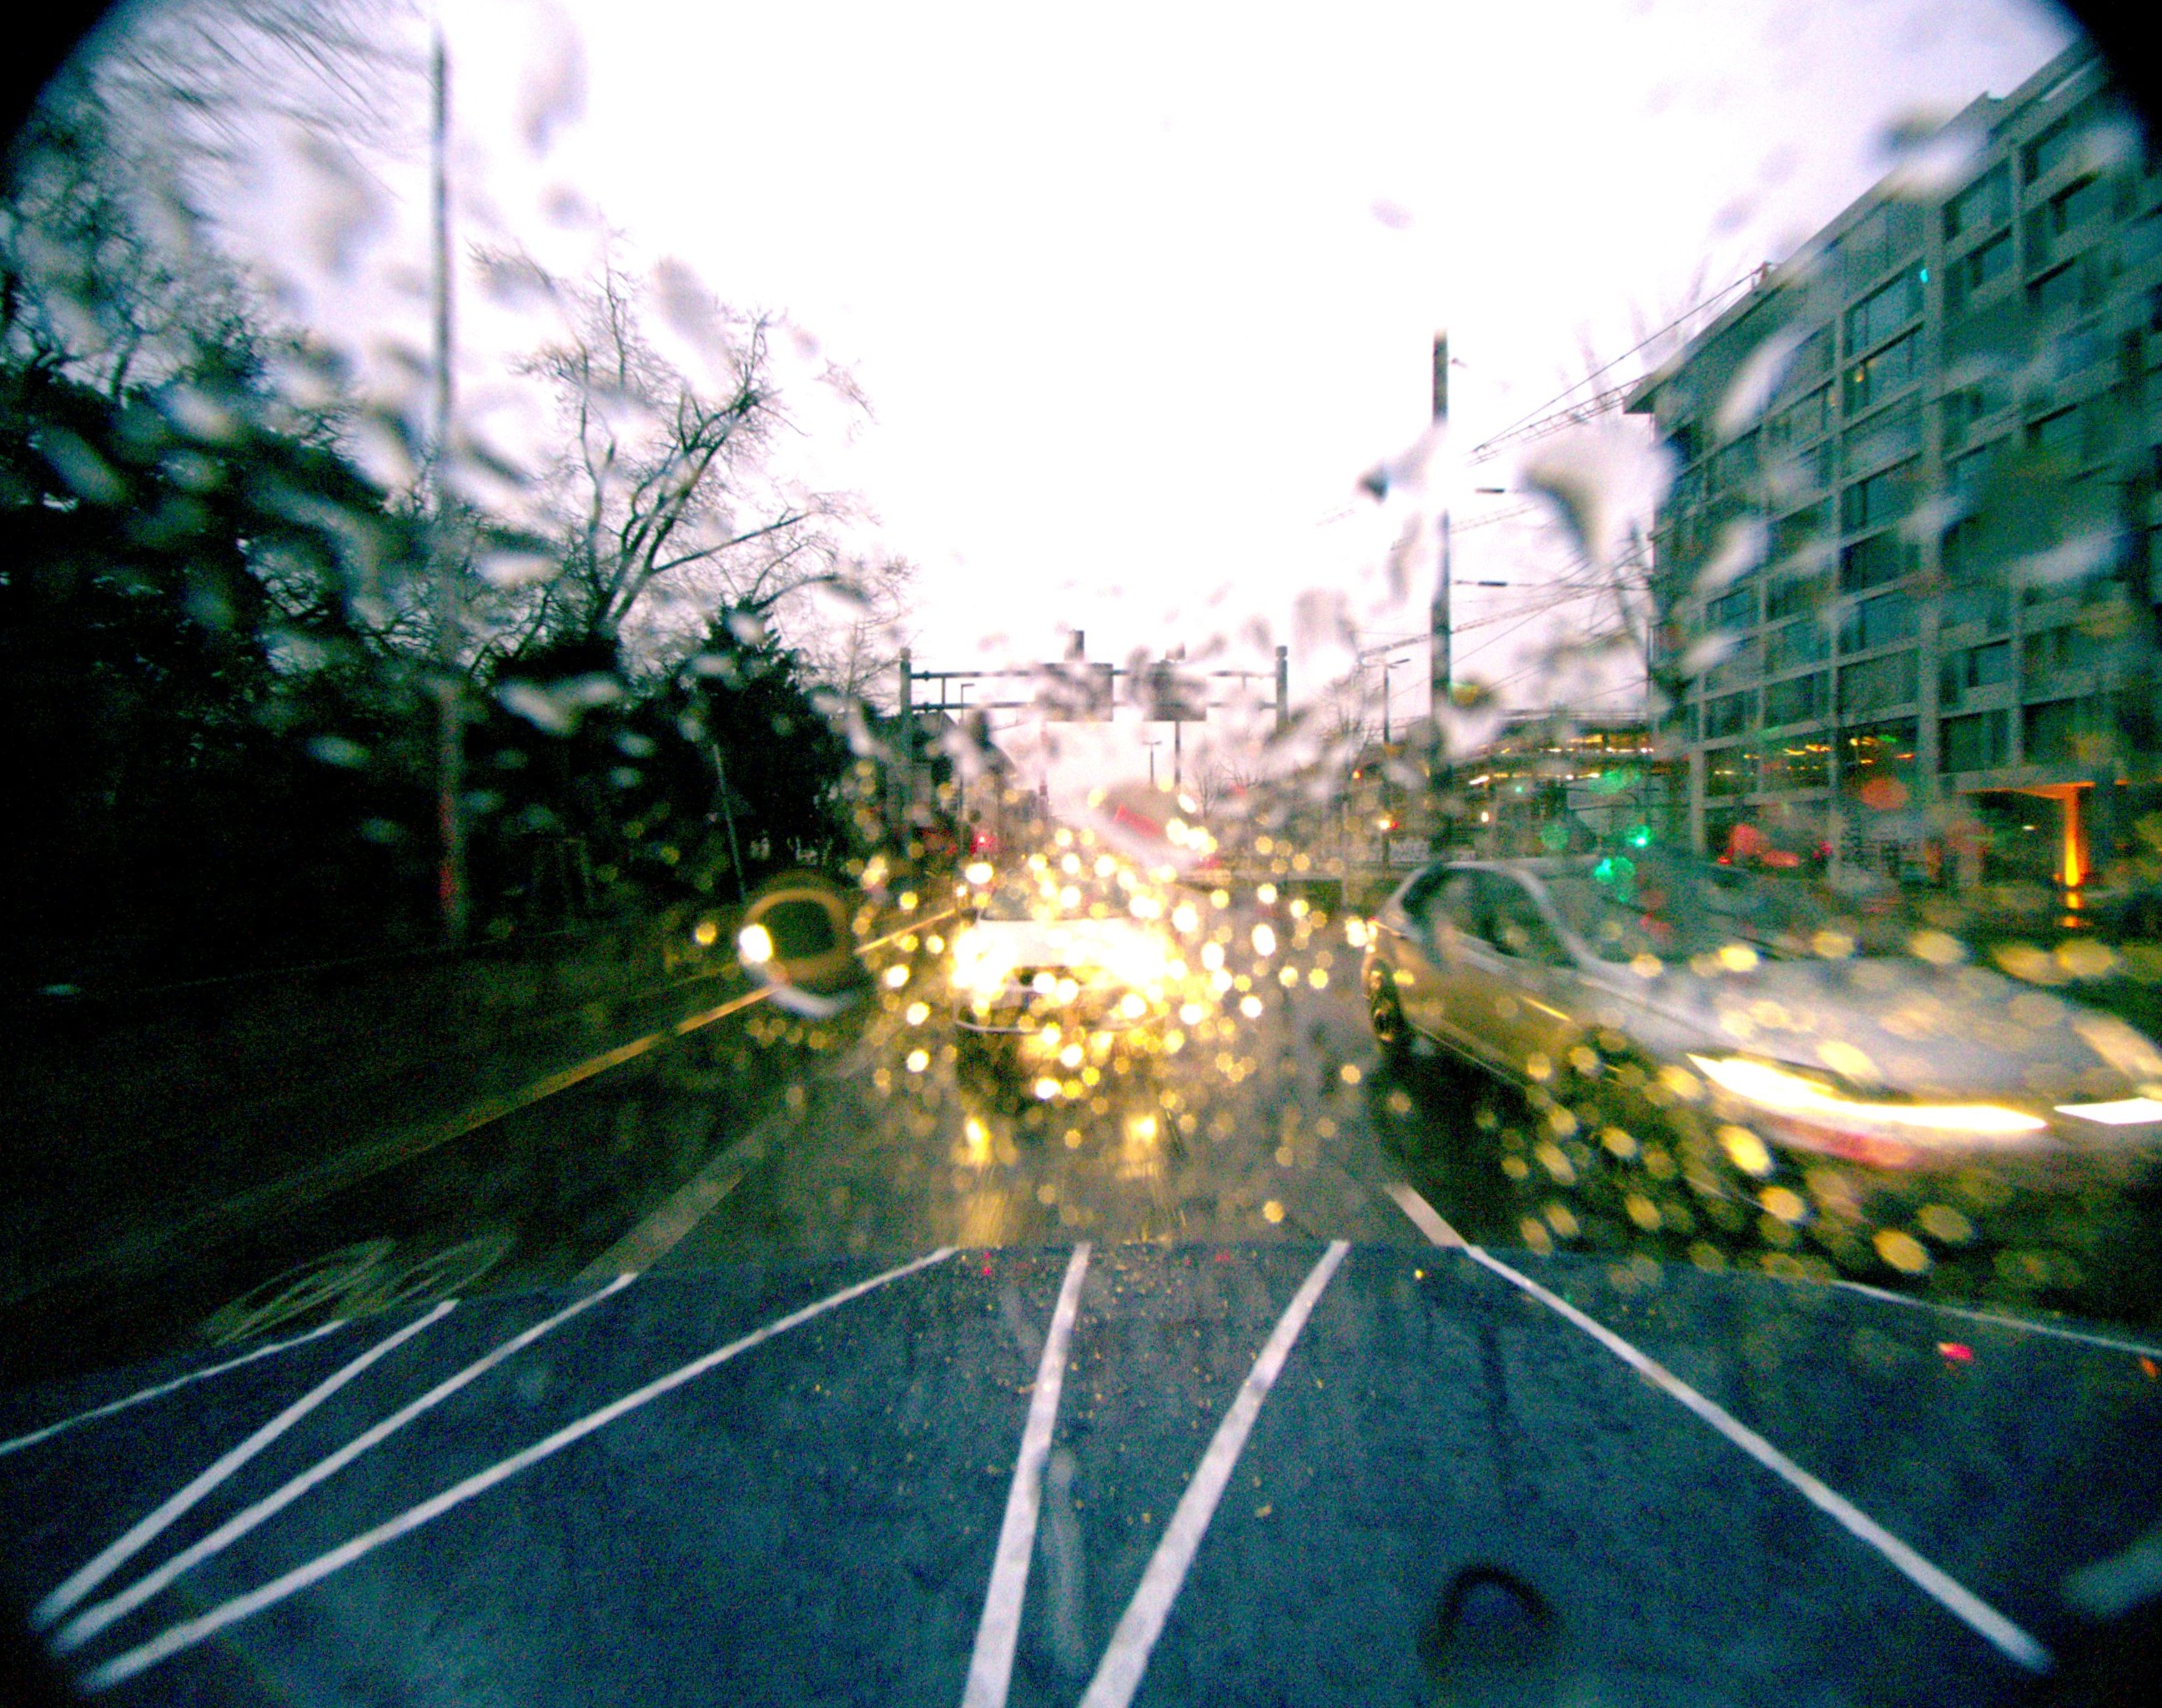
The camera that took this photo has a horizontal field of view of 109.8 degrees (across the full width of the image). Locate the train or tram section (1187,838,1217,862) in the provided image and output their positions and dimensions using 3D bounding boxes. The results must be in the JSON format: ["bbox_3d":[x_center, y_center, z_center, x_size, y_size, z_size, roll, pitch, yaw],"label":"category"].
[{"bbox_3d":[18.128,-0.603,114.471,2.964,3.466,14.268,0,0,3],"label":"train or tram section"}]

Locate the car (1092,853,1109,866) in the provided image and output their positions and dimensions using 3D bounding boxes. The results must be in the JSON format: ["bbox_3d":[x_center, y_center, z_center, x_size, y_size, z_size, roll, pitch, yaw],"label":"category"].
[{"bbox_3d":[2.167,0.582,84.776,1.767,1.363,3.980,-2,1,-1],"label":"car"}]

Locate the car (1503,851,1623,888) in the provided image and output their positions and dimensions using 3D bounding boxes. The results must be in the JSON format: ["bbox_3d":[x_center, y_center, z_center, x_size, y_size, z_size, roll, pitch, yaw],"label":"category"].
[{"bbox_3d":[20.241,0.592,32.236,1.998,1.459,5.034,0,0,1],"label":"car"}]

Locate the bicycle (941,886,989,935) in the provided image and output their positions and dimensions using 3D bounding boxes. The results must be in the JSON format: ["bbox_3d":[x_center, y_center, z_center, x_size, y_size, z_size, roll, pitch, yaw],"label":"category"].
[{"bbox_3d":[-2.589,1.237,17.149,0.647,0.961,2.047,0,0,3],"label":"bicycle"}]

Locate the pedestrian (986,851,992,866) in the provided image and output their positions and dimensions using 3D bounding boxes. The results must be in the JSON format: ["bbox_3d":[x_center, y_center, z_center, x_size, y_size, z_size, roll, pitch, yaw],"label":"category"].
[{"bbox_3d":[-9.486,0.489,78.524,0.521,1.501,0.588,0,1,0],"label":"pedestrian"}]

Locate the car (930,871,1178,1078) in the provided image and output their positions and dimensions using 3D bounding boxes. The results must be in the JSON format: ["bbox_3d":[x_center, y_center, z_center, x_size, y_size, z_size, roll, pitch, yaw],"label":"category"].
[{"bbox_3d":[-0.204,0.941,7.623,1.798,1.363,3.980,-2,1,0],"label":"car"}]

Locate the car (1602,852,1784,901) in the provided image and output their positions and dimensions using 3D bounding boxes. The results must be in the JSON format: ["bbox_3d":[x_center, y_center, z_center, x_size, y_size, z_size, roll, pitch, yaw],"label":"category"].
[{"bbox_3d":[20.349,0.688,25.542,2.001,1.488,4.444,0,0,-15],"label":"car"}]

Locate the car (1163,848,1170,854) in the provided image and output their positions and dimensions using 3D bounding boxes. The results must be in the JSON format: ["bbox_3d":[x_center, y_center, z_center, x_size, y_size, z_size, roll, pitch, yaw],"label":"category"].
[{"bbox_3d":[29.464,-1.113,261.383,1.998,2.002,4.000,0,0,1],"label":"car"}]

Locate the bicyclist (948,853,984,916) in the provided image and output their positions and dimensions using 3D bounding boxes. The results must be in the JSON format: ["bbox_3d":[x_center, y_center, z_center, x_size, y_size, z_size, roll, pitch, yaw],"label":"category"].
[{"bbox_3d":[-2.581,0.675,17.123,0.647,1.381,0.890,0,1,3],"label":"bicyclist"}]

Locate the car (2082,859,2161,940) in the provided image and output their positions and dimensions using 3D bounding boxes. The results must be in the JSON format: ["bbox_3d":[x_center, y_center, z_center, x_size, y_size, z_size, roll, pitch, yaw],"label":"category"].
[{"bbox_3d":[20.242,0.818,12.789,1.901,1.423,3.706,0,0,0],"label":"car"}]

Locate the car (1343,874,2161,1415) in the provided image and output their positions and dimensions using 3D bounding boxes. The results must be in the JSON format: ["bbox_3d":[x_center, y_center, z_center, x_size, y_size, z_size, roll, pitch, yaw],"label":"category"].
[{"bbox_3d":[3.031,0.885,4.166,1.767,1.363,3.980,-2,1,-1],"label":"car"}]

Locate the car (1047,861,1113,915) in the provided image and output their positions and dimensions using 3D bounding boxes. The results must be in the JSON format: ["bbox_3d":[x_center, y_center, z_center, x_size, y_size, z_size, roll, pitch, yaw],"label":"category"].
[{"bbox_3d":[-0.031,0.912,22.194,1.728,1.318,3.980,-2,1,0],"label":"car"}]

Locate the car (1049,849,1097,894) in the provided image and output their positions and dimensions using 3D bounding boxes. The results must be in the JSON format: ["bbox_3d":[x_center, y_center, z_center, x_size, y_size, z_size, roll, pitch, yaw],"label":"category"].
[{"bbox_3d":[-0.309,0.655,30.948,1.781,1.666,3.980,-2,1,0],"label":"car"}]
